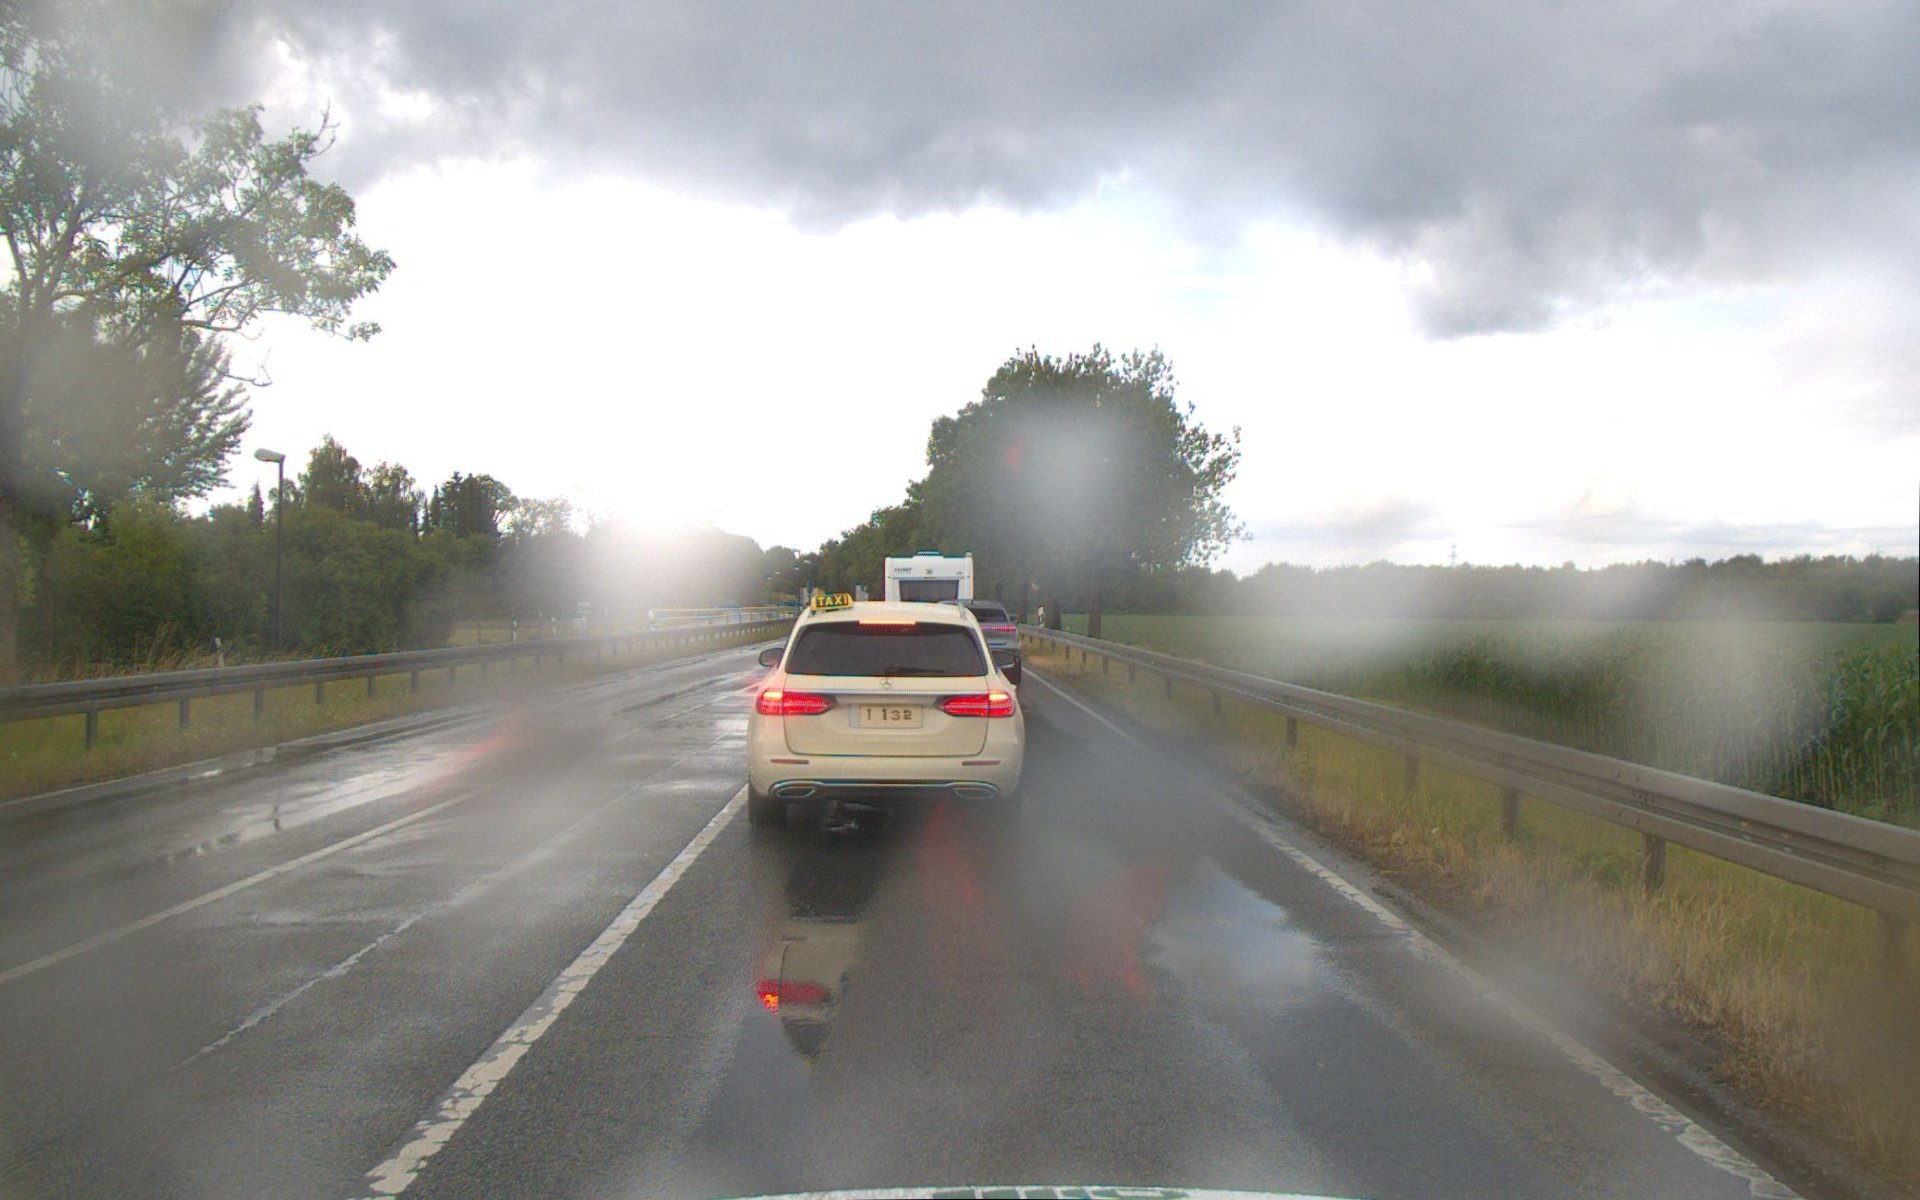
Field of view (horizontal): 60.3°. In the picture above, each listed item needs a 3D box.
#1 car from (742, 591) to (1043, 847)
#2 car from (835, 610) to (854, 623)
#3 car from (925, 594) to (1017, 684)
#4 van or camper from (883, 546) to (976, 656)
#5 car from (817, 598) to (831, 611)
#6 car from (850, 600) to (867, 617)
[{"bbox_3d":[-0.382,0.711,11.929,1.787,1.511,4.145,0,0,0],"label":"car"},{"bbox_3d":[-12.006,1.675,172.425,1.723,1.291,3.999,0,0,-1],"label":"car"},{"bbox_3d":[0.180,0.669,30.733,1.594,1.556,3.932,0,0,-1],"label":"car"},{"bbox_3d":[-0.785,-0.003,44.158,2.303,2.727,5.767,0,0,-1],"label":"van or camper"},{"bbox_3d":[-21.245,0.716,258.244,1.955,2.049,3.995,1,0,-6],"label":"car"},{"bbox_3d":[-12.382,1.033,202.164,1.953,2.087,3.999,1,0,-2],"label":"car"}]
